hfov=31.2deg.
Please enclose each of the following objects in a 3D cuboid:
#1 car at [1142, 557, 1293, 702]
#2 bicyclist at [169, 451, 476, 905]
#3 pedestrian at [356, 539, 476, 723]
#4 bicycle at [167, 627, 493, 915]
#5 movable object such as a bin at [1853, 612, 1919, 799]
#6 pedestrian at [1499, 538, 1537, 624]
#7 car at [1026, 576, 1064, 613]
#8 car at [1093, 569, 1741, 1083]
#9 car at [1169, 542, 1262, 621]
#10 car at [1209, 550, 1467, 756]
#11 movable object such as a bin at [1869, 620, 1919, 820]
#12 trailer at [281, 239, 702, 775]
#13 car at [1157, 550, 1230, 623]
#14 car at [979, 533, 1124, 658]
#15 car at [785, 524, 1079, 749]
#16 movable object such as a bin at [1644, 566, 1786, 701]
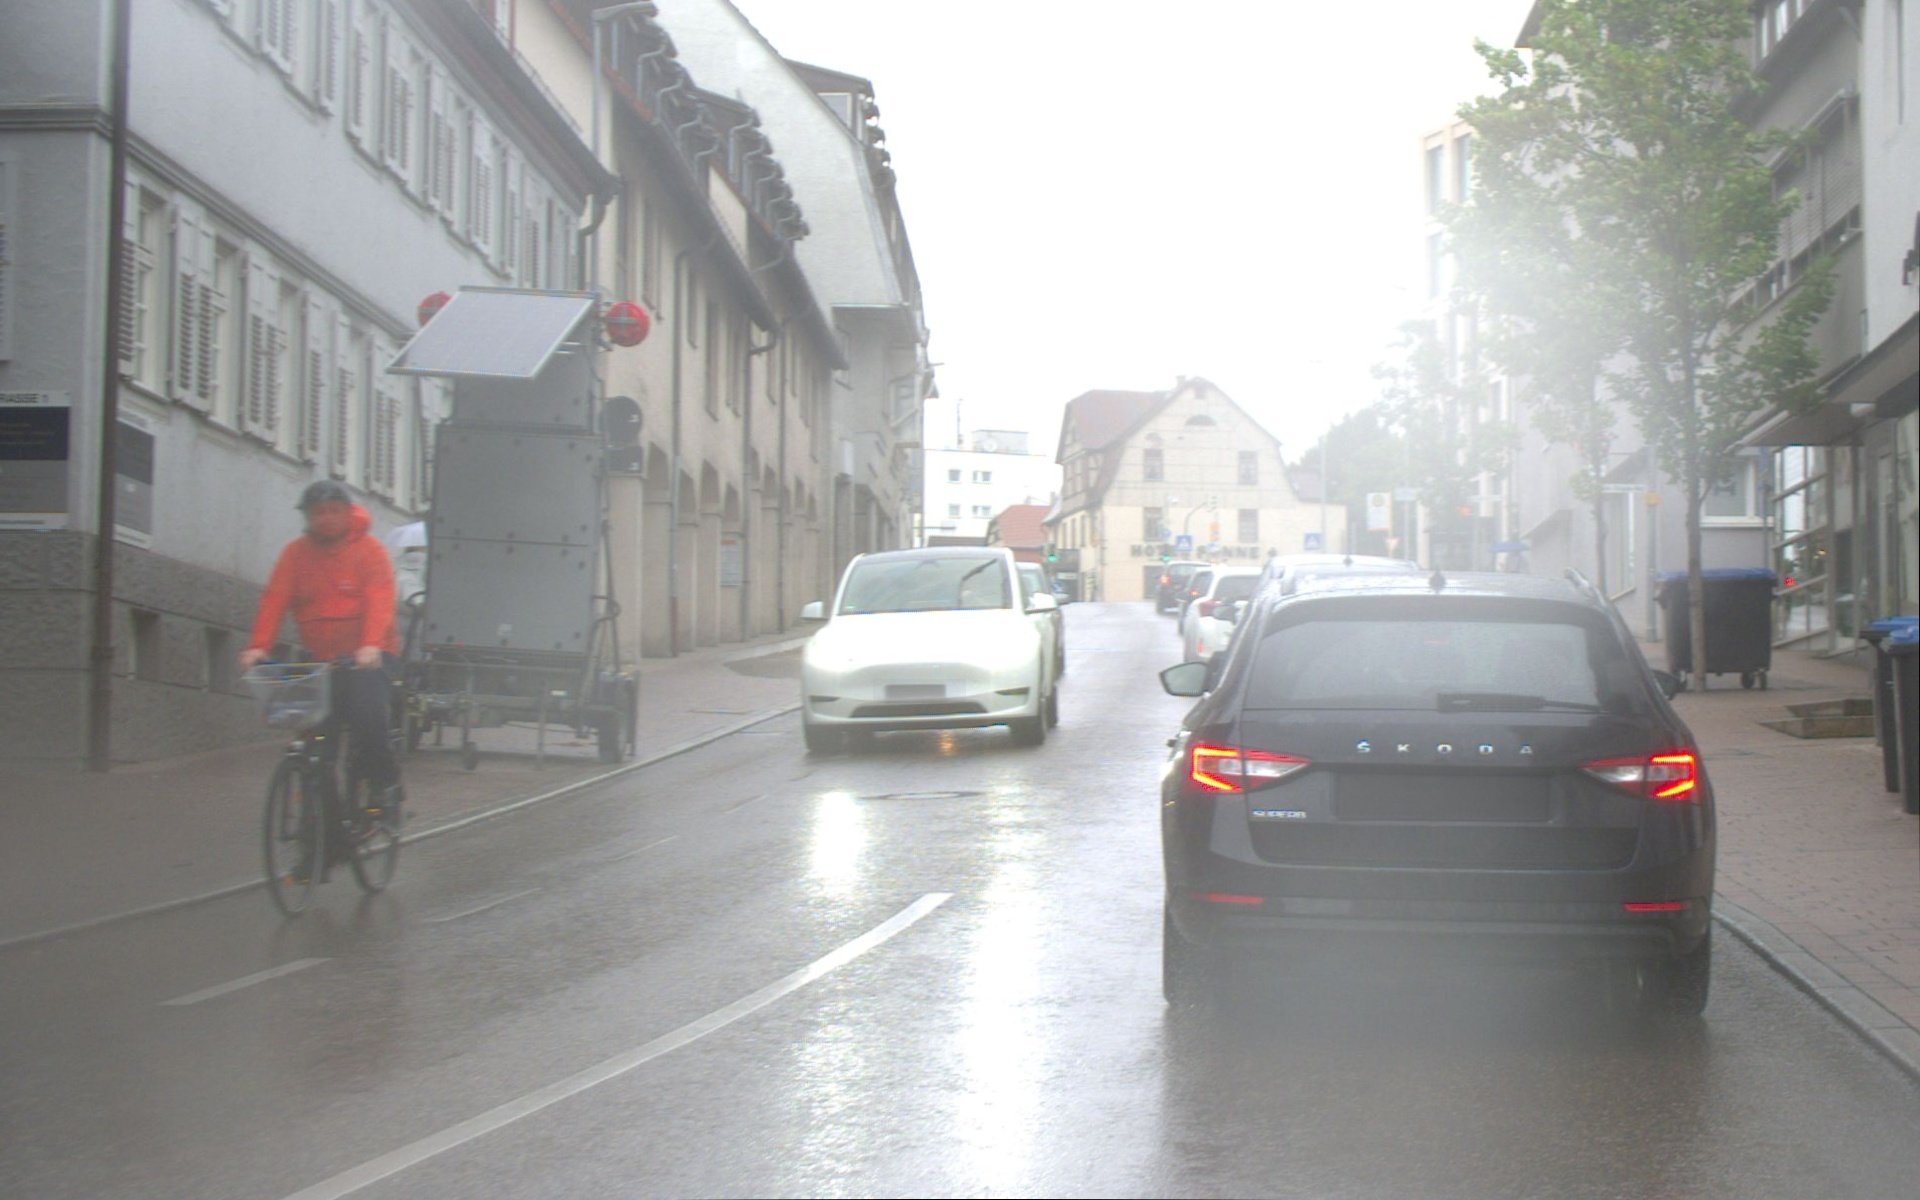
[{"bbox_3d":[3.095,0.400,41.898,1.627,1.525,3.999,0,-4,1],"label":"car"},{"bbox_3d":[-2.910,0.333,15.767,1.137,2.007,0.879,1,1,10],"label":"bicyclist"},{"bbox_3d":[-4.651,0.252,29.453,0.707,1.525,1.045,2,1,7],"label":"pedestrian"},{"bbox_3d":[-2.854,0.742,15.828,0.747,1.159,2.156,0,1,10],"label":"bicycle"},{"bbox_3d":[5.767,0.617,20.613,0.659,1.059,0.614,-4,2,7],"label":"movable object such as a bin"},{"bbox_3d":[11.362,-0.385,70.028,0.705,1.719,0.832,1,1,7],"label":"pedestrian"},{"bbox_3d":[3.719,-0.236,150.215,1.627,1.525,4.000,1,1,1],"label":"car"},{"bbox_3d":[1.623,0.644,12.367,1.887,1.443,4.356,1,1,7],"label":"car"},{"bbox_3d":[5.281,-0.402,71.407,1.703,1.546,3.606,1,1,1],"label":"car"},{"bbox_3d":[3.010,0.355,27.174,1.857,1.468,3.999,1,1,7],"label":"car"},{"bbox_3d":[5.541,0.675,19.611,0.567,1.104,0.676,1,1,6],"label":"movable object such as a bin"},{"bbox_3d":[-3.280,-0.579,25.079,1.994,3.522,4.573,1,-1,5],"label":"trailer"},{"bbox_3d":[6.599,-0.393,97.282,1.994,2.007,3.999,1,0,4],"label":"car"},{"bbox_3d":[1.207,-0.083,44.701,1.773,1.528,3.710,1,1,2],"label":"car"},{"bbox_3d":[-0.149,0.272,28.732,1.874,1.656,4.307,-3,0,6],"label":"car"},{"bbox_3d":[8.194,0.348,37.394,1.286,1.345,1.487,-1,3,3],"label":"movable object such as a bin"}]
